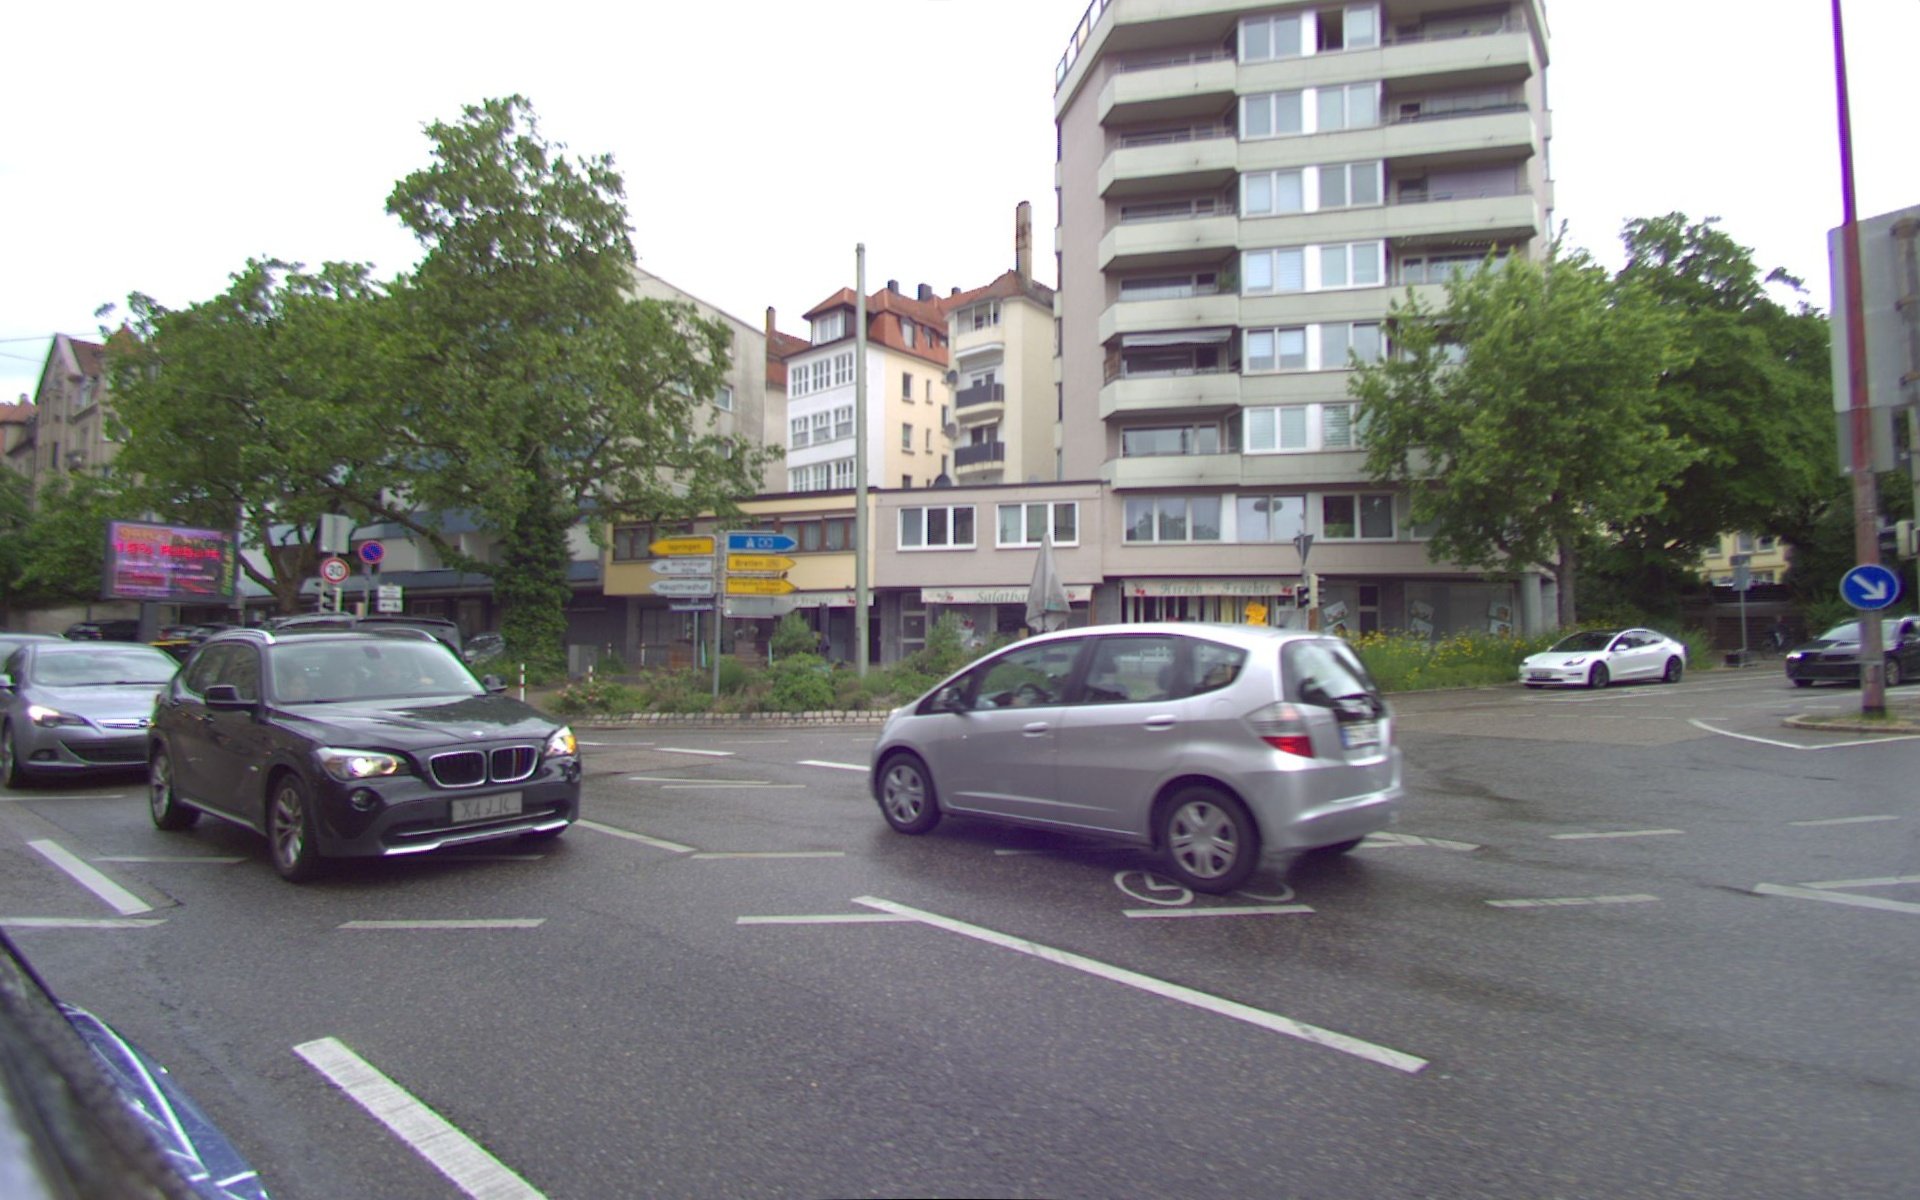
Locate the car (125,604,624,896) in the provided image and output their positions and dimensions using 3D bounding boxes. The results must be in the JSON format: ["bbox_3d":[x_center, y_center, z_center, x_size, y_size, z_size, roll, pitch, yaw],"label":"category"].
[{"bbox_3d":[-4.419,0.864,7.381,4.209,1.547,1.735,-2,-2,38],"label":"car"}]

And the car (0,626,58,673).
[{"bbox_3d":[-32.165,1.661,34.265,3.676,1.508,1.698,-2,-2,37],"label":"car"}]

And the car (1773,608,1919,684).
[{"bbox_3d":[19.891,0.971,21.924,3.954,1.503,1.772,0,-3,-22],"label":"car"}]

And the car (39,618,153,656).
[{"bbox_3d":[-39.985,1.695,46.953,1.751,1.543,3.825,1,1,9],"label":"car"}]

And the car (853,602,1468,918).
[{"bbox_3d":[1.103,0.839,6.880,1.606,1.530,3.874,1,-2,-44],"label":"car"}]

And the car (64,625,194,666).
[{"bbox_3d":[-36.923,1.976,45.135,1.793,1.605,4.294,1,0,13],"label":"car"}]

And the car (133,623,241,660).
[{"bbox_3d":[-34.184,1.792,44.873,1.660,1.416,3.829,1,1,6],"label":"car"}]

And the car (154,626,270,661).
[{"bbox_3d":[-32.315,1.849,43.831,1.676,1.416,3.816,0,-1,16],"label":"car"}]

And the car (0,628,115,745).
[{"bbox_3d":[-15.031,1.328,15.956,4.205,1.657,1.736,-3,-3,37],"label":"car"}]

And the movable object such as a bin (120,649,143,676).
[{"bbox_3d":[-28.964,2.189,35.382,0.545,0.908,0.479,0,-2,34],"label":"movable object such as a bin"}]

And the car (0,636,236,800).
[{"bbox_3d":[-9.783,1.159,11.300,4.176,1.494,1.734,-2,-3,39],"label":"car"}]

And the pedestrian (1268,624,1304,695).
[{"bbox_3d":[8.059,1.457,25.033,0.610,1.706,0.626,-1,-1,-9],"label":"pedestrian"}]

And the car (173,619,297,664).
[{"bbox_3d":[-29.911,1.697,41.897,1.792,1.702,3.813,1,-1,18],"label":"car"}]

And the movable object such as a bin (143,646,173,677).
[{"bbox_3d":[-28.289,2.161,35.705,0.626,1.088,0.636,0,-2,34],"label":"movable object such as a bin"}]

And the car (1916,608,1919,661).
[{"bbox_3d":[25.369,0.883,24.430,3.954,1.503,1.772,0,-3,-22],"label":"car"}]

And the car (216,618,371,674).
[{"bbox_3d":[-25.652,1.704,39.181,1.864,1.992,4.948,0,-1,17],"label":"car"}]

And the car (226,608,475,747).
[{"bbox_3d":[-9.404,1.101,15.519,4.137,1.860,1.727,-1,-3,36],"label":"car"}]

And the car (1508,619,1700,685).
[{"bbox_3d":[16.249,1.269,25.548,4.317,1.503,1.920,0,-1,-22],"label":"car"}]
